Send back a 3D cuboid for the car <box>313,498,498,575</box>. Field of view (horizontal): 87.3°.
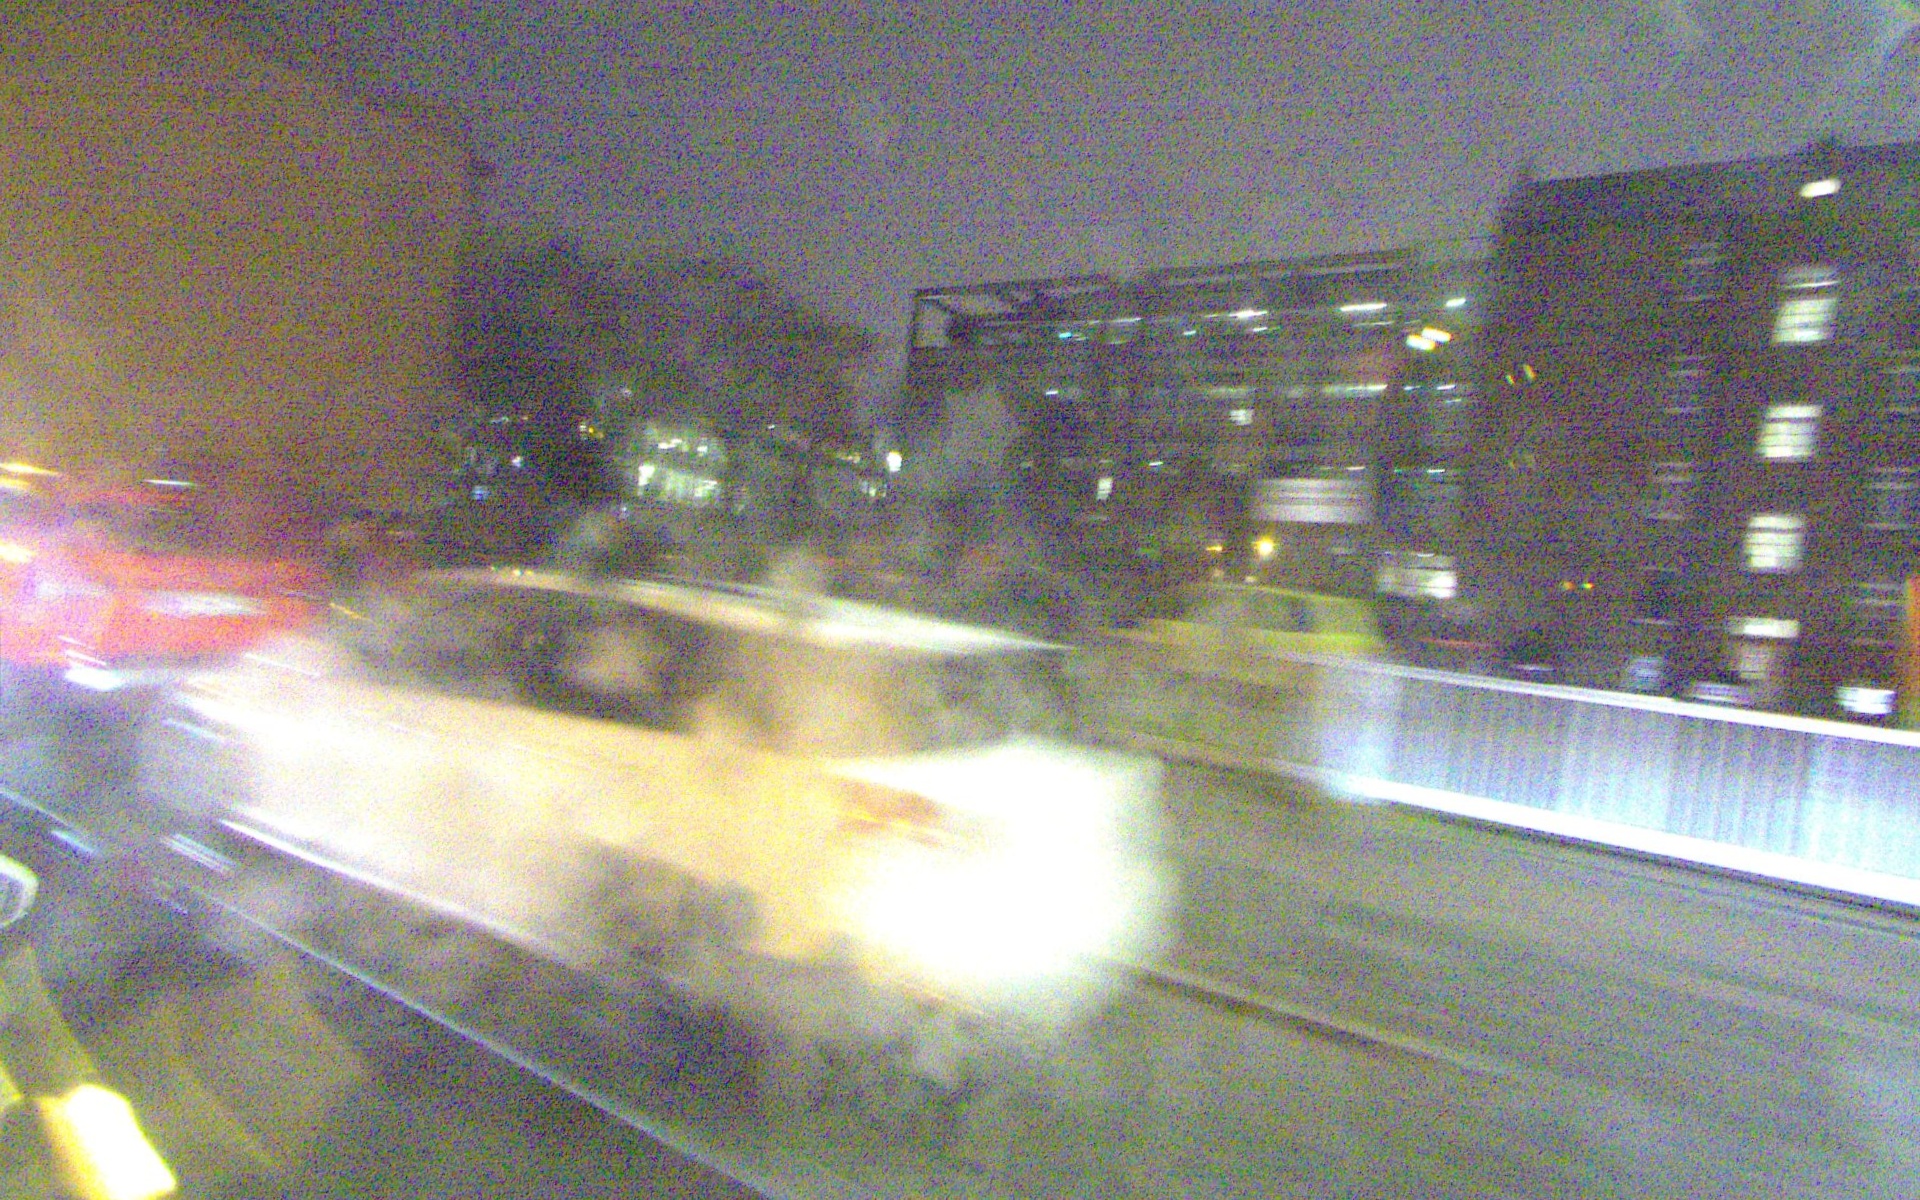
[{"bbox_3d":[-13.713,-1.536,25.071,1.593,1.418,3.689,8,2,31],"label":"car"}]

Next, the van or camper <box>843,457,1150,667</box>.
[{"bbox_3d":[0.785,-0.428,15.249,2.136,2.560,5.063,8,2,33],"label":"van or camper"}]

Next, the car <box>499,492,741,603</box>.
[{"bbox_3d":[-6.032,-0.873,18.305,1.656,1.540,3.991,7,2,29],"label":"car"}]

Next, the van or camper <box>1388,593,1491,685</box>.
[{"bbox_3d":[15.962,1.281,33.305,2.342,2.587,5.380,7,1,31],"label":"van or camper"}]

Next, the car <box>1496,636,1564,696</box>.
[{"bbox_3d":[18.674,2.131,32.875,1.641,1.637,3.989,7,1,31],"label":"car"}]

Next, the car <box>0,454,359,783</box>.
[{"bbox_3d":[-6.372,-0.105,7.125,4.114,1.732,1.713,8,4,28],"label":"car"}]

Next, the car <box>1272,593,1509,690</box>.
[{"bbox_3d":[8.913,0.822,20.938,4.191,1.432,1.679,7,2,33],"label":"car"}]

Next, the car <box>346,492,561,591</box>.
[{"bbox_3d":[-11.653,-1.294,23.420,1.720,1.813,4.069,8,2,31],"label":"car"}]

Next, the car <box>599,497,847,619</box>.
[{"bbox_3d":[-3.938,-0.638,17.434,1.656,1.638,4.222,7,2,29],"label":"car"}]

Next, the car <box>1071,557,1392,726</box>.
[{"bbox_3d":[3.291,0.442,12.348,3.351,1.489,1.563,8,2,32],"label":"car"}]

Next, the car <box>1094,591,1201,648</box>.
[{"bbox_3d":[5.203,0.574,27.556,1.616,1.265,3.991,7,1,29],"label":"car"}]

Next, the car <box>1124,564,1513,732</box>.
[{"bbox_3d":[4.996,0.581,14.293,4.785,1.568,1.830,8,2,32],"label":"car"}]

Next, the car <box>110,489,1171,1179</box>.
[{"bbox_3d":[-1.545,0.491,4.280,4.361,1.508,1.714,7,2,29],"label":"car"}]

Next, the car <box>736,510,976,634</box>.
[{"bbox_3d":[-1.576,-0.380,16.850,1.775,1.638,4.222,7,2,29],"label":"car"}]

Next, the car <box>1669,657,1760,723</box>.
[{"bbox_3d":[22.581,2.641,30.243,1.641,1.637,3.989,7,1,31],"label":"car"}]
